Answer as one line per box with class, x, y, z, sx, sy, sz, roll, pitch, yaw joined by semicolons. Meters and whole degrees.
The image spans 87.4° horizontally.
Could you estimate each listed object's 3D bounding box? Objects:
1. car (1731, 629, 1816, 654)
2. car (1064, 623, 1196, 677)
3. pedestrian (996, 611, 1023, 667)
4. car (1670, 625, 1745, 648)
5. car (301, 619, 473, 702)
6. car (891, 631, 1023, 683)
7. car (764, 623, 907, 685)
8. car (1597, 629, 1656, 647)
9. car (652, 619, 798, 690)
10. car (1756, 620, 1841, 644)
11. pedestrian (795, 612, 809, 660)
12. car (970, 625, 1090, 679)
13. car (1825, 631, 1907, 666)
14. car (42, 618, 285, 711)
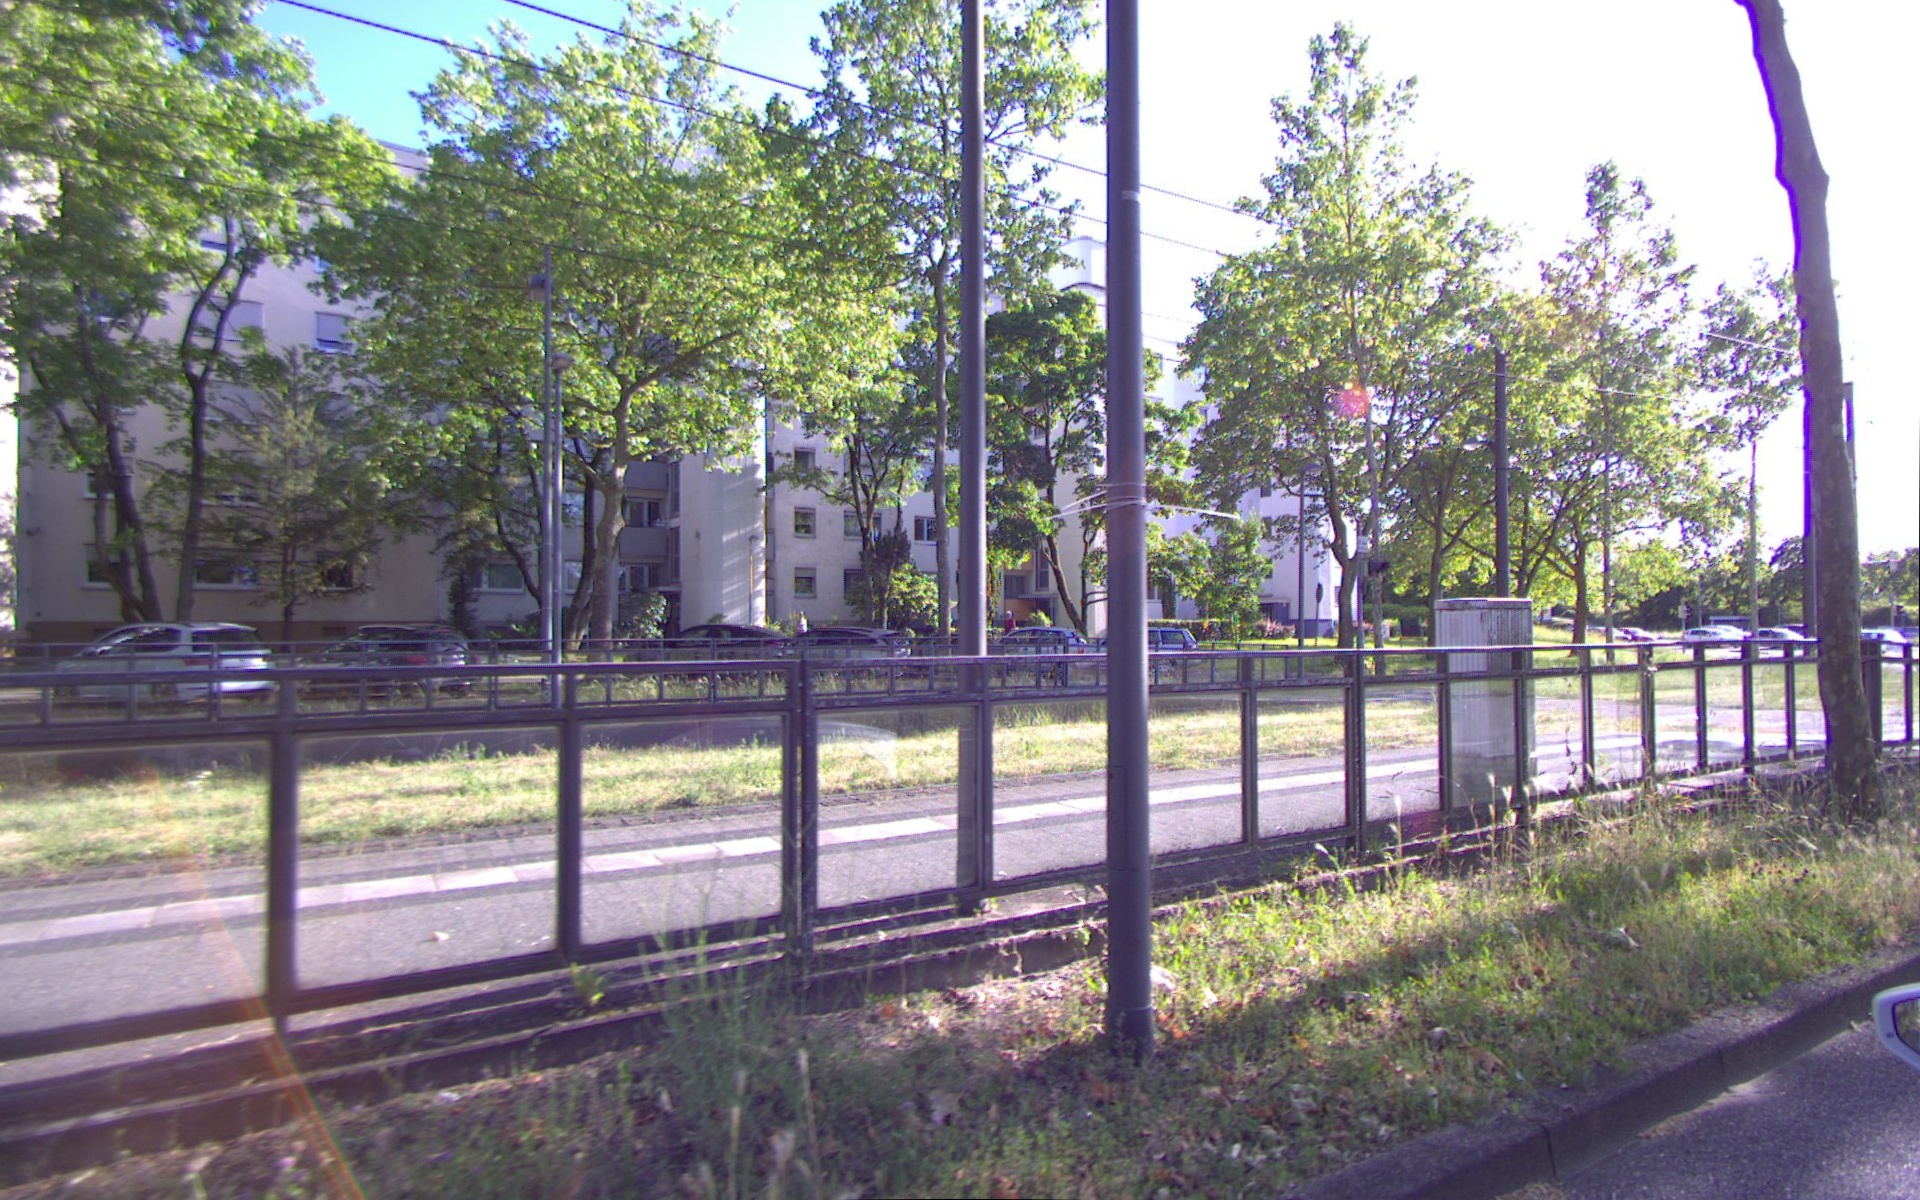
car;57.820;2.967;71.516;1.867;1.632;4.491;-2;-2;-12
car;5.280;1.502;31.042;3.842;1.496;1.633;1;0;16
pedestrian;1.628;1.269;33.002;0.710;1.816;0.473;1;0;-32
car;57.320;2.798;77.125;1.867;1.632;4.491;-1;-2;-12
car;-11.756;1.188;20.598;3.321;1.529;1.463;0;0;26
car;-0.072;1.536;27.625;3.317;1.270;1.465;1;-1;19
car;-3.161;1.356;25.728;3.315;1.445;1.541;1;-1;12
car;56.270;3.212;84.834;1.783;1.455;4.039;-2;-2;-12
car;-5.572;1.266;23.940;3.075;1.568;1.466;0;0;12
car;60.812;2.314;72.957;1.867;1.632;4.491;-2;-2;-12
pedestrian;-6.009;1.357;38.173;0.446;1.815;0.315;1;-1;-38
car;2.077;1.497;29.486;3.221;1.450;1.572;1;0;17
car;40.580;2.170;44.971;3.672;1.469;1.624;1;-1;-29
car;-14.861;1.136;18.769;3.914;1.565;1.647;0;0;18
